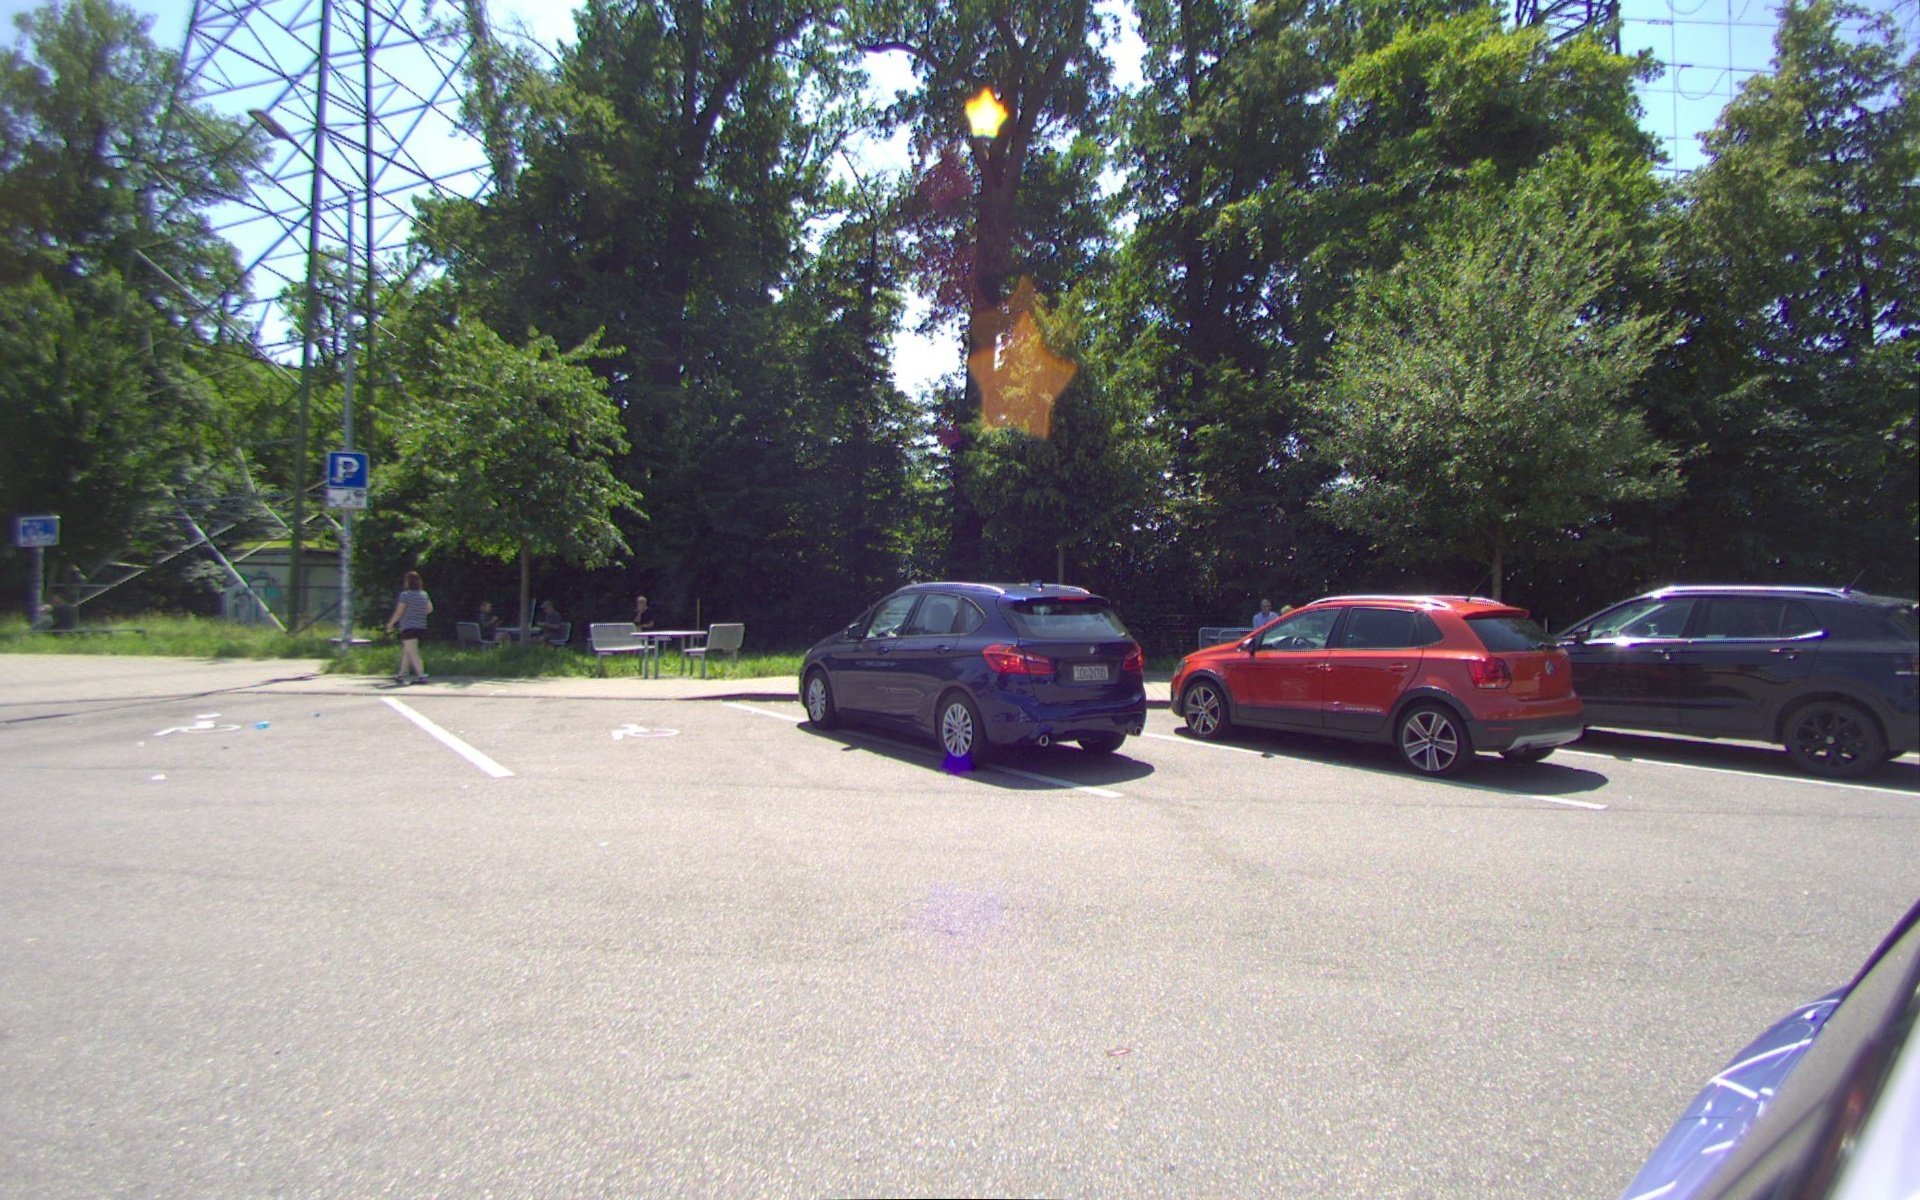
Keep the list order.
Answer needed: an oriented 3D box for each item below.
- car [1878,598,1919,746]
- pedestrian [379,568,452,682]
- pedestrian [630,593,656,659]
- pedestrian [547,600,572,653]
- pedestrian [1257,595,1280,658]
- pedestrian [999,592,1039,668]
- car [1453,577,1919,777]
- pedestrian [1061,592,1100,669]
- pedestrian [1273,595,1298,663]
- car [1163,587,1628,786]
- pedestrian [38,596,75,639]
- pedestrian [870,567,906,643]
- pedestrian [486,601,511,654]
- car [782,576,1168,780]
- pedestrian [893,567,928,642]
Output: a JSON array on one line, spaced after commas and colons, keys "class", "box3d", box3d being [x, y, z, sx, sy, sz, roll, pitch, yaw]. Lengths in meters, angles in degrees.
[{"class": "car", "box3d": [10.902, 0.703, 9.005, 1.620, 1.420, 3.826, 0, 0, -37]}, {"class": "pedestrian", "box3d": [-8.156, 0.361, 15.175, 0.704, 1.670, 0.685, 0, 0, 11]}, {"class": "pedestrian", "box3d": [-6.679, 0.544, 21.344, 0.438, 1.363, 0.462, 0, 0, -5]}, {"class": "pedestrian", "box3d": [-9.337, 0.613, 23.597, 0.452, 1.209, 0.447, 0, 0, -34]}, {"class": "pedestrian", "box3d": [5.826, 0.493, 19.121, 0.350, 1.180, 0.384, 0, 0, 8]}, {"class": "pedestrian", "box3d": [0.996, 0.496, 17.109, 0.586, 1.261, 0.445, 0, 0, 16]}, {"class": "car", "box3d": [7.102, 0.592, 9.860, 1.620, 1.575, 3.826, 0, 0, -37]}, {"class": "pedestrian", "box3d": [2.009, 0.493, 16.852, 0.586, 1.261, 0.498, 0, 0, 16]}, {"class": "pedestrian", "box3d": [5.777, 0.504, 17.945, 0.350, 1.180, 0.384, 0, 0, 8]}, {"class": "car", "box3d": [3.886, 0.633, 9.644, 1.619, 1.487, 3.830, 0, 0, -33]}, {"class": "pedestrian", "box3d": [-20.944, 0.394, 23.458, 0.452, 0.987, 0.447, 0, 0, -2]}, {"class": "pedestrian", "box3d": [-1.554, 0.101, 21.877, 0.565, 1.625, 0.643, 0, 0, 22]}, {"class": "pedestrian", "box3d": [-10.426, 0.612, 22.856, 0.452, 1.182, 0.447, 0, 0, -34]}, {"class": "car", "box3d": [-0.107, 0.557, 10.087, 1.714, 1.572, 4.347, 0, 1, -33]}, {"class": "pedestrian", "box3d": [-1.094, 0.093, 22.534, 0.565, 1.625, 0.643, 0, 0, 22]}]
